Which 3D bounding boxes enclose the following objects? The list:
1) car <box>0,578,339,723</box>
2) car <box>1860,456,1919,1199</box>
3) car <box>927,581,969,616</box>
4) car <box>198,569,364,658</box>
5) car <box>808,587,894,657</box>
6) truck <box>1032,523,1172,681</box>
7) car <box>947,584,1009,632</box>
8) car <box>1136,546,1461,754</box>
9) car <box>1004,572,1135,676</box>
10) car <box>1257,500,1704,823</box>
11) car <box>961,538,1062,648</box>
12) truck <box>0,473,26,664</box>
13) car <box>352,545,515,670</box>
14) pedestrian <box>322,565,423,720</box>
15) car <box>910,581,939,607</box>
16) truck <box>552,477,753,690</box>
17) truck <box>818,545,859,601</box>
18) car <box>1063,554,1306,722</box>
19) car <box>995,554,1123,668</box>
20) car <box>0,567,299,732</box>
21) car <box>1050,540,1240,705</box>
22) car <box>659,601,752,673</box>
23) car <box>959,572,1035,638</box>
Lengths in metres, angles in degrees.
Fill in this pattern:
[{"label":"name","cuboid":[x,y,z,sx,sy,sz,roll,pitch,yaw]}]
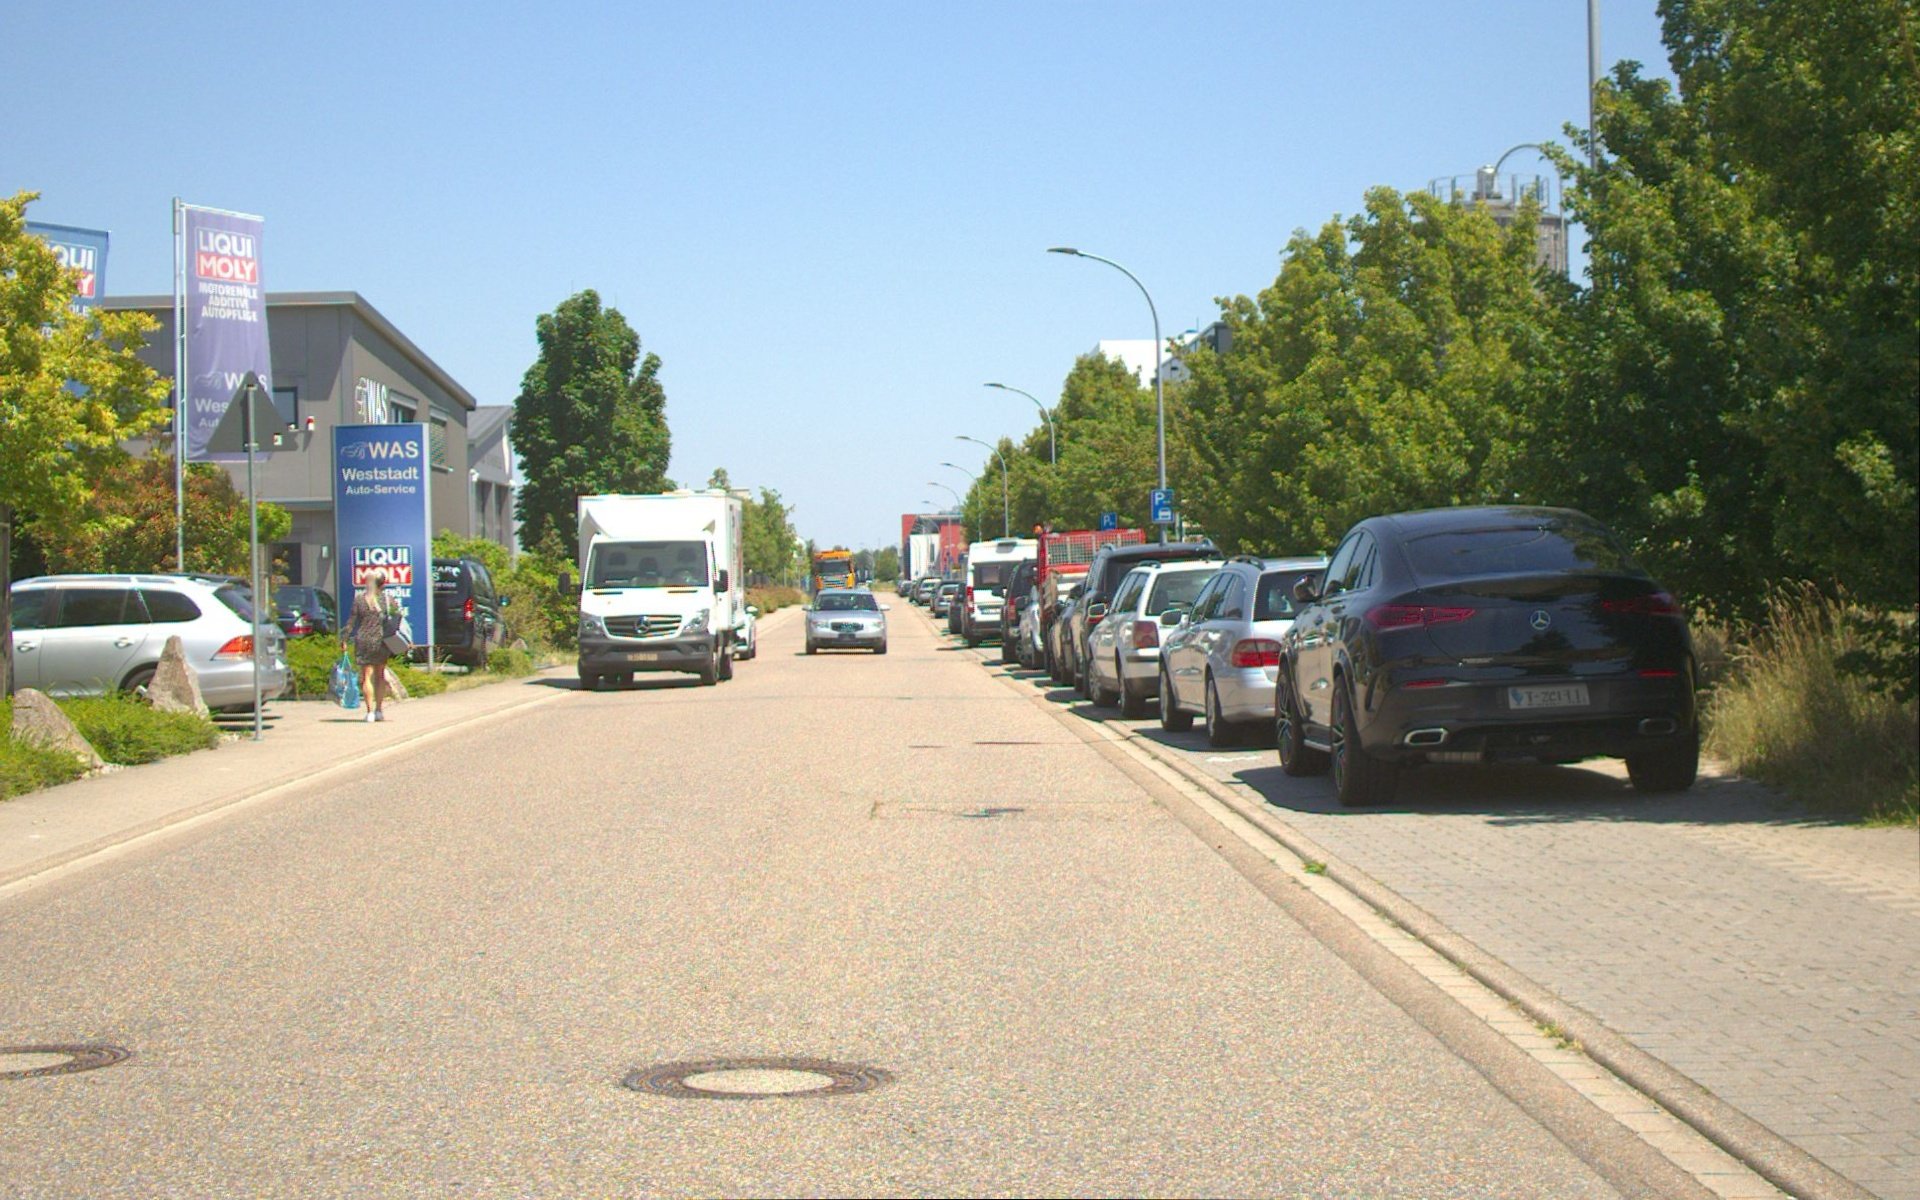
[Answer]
[{"label":"car","cuboid":[-8.846,0.523,36.077,4.309,1.427,1.846,-1,0,0]},{"label":"car","cuboid":[2.906,0.498,5.089,1.804,1.630,4.458,-3,1,-1]},{"label":"car","cuboid":[-0.541,-0.051,149.294,1.718,1.445,3.646,-2,0,-1]},{"label":"car","cuboid":[-11.283,0.211,57.424,1.931,1.412,4.769,1,0,-1]},{"label":"car","cuboid":[-2.413,0.476,75.979,1.783,1.417,4.414,-3,0,-2]},{"label":"truck","cuboid":[2.078,0.023,51.370,1.679,2.174,4.390,-3,0,-2]},{"label":"car","cuboid":[0.600,0.256,112.421,1.709,1.499,4.705,-2,0,4]},{"label":"car","cuboid":[2.675,0.359,28.284,1.804,1.478,4.774,-3,1,-4]},{"label":"car","cuboid":[1.739,0.378,55.794,1.738,1.525,4.000,-3,0,-3]},{"label":"car","cuboid":[3.082,0.317,21.314,1.949,1.695,4.545,-3,1,-1]},{"label":"car","cuboid":[1.241,-0.180,83.080,2.267,2.489,6.152,-2,0,1]},{"label":"truck","cuboid":[-21.681,-0.595,65.254,8.050,3.545,2.582,0,0,28]},{"label":"car","cuboid":[-8.619,0.116,56.714,1.993,1.950,5.218,-1,0,-1]},{"label":"pedestrian","cuboid":[-6.069,0.433,35.551,0.899,1.569,0.785,1,0,0]},{"label":"car","cuboid":[-2.053,-0.363,196.379,1.585,1.405,3.500,-1,0,-1]},{"label":"truck","cuboid":[-4.479,-0.231,51.138,2.361,2.850,6.415,-3,0,-1]},{"label":"truck","cuboid":[-7.962,-1.810,225.711,2.448,3.501,8.273,-2,1,-1]},{"label":"car","cuboid":[2.165,0.338,34.416,1.713,1.478,4.774,-3,1,-4]},{"label":"car","cuboid":[1.732,0.193,61.689,1.993,1.878,5.156,-2,0,-1]},{"label":"car","cuboid":[-8.719,0.479,33.380,4.261,1.513,1.866,-1,0,-2]},{"label":"car","cuboid":[2.087,0.222,39.978,1.811,1.719,4.774,-3,1,-1]},{"label":"car","cuboid":[-5.368,0.757,72.828,1.730,1.453,4.492,-1,0,-1]},{"label":"car","cuboid":[1.050,0.146,100.113,1.993,1.819,4.354,-2,0,-2]}]
